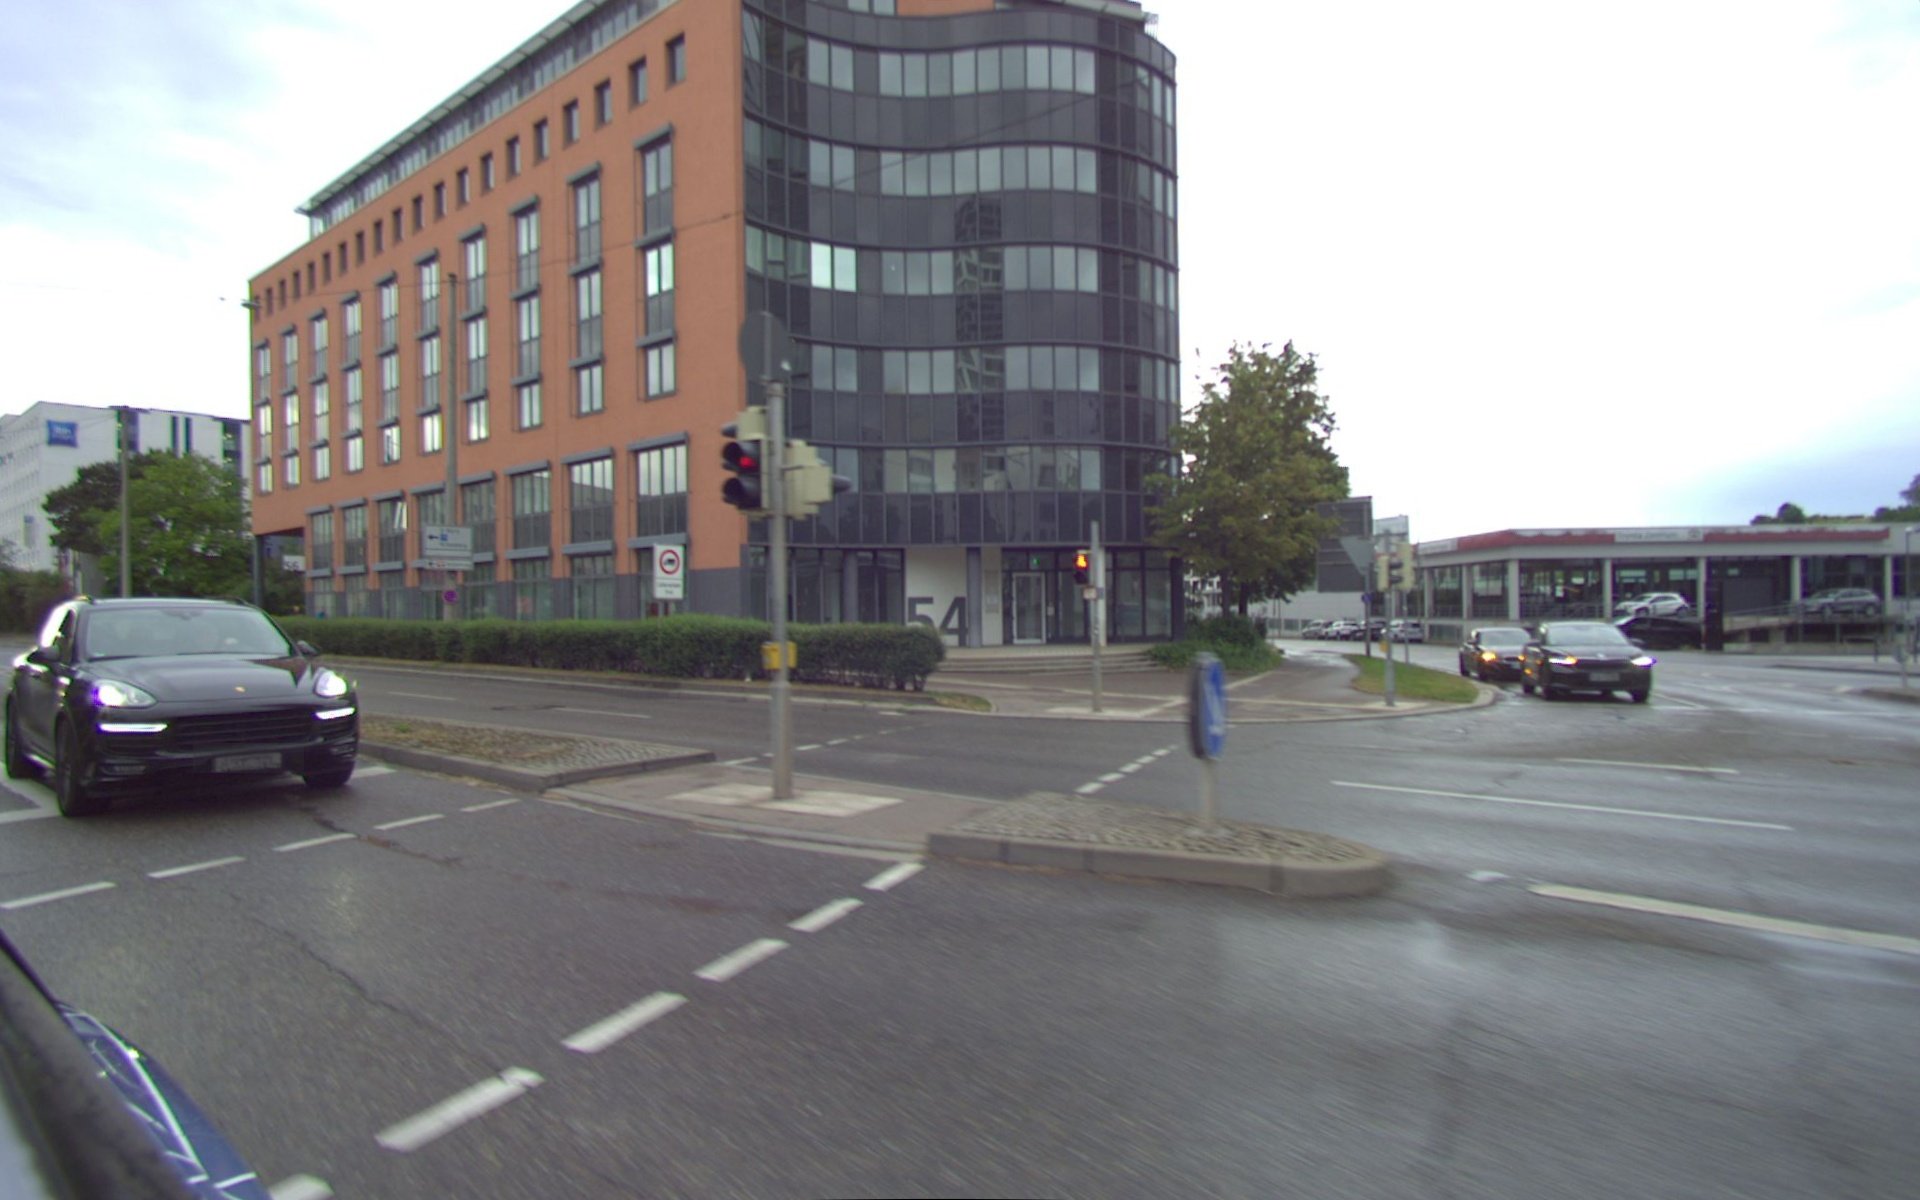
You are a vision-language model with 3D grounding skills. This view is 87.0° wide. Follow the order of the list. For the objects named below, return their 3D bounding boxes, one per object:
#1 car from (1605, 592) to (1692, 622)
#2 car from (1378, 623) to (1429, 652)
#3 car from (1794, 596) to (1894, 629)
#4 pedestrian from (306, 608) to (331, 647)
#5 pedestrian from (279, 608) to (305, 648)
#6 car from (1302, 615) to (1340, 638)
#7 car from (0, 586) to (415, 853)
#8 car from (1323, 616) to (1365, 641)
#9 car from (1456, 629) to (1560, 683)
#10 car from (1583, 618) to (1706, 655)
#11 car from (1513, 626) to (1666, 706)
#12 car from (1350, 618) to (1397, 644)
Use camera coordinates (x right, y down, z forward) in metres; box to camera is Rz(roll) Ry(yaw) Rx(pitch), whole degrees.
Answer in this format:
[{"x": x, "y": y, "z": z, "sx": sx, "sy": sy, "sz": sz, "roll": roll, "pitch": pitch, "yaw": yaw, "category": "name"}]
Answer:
[{"x": 40.280, "y": 0.430, "z": 59.303, "sx": 3.766, "sy": 1.663, "sz": 1.815, "roll": 0, "pitch": -2, "yaw": 4, "category": "car"}, {"x": 30.983, "y": 2.607, "z": 70.825, "sx": 1.974, "sy": 1.918, "sz": 3.996, "roll": -1, "pitch": -2, "yaw": 3, "category": "car"}, {"x": 50.286, "y": 0.715, "z": 57.636, "sx": 3.948, "sy": 1.863, "sz": 1.798, "roll": 0, "pitch": -2, "yaw": 4, "category": "car"}, {"x": -30.960, "y": 1.317, "z": 48.813, "sx": 0.885, "sy": 1.855, "sz": 0.738, "roll": -1, "pitch": 0, "yaw": 39, "category": "pedestrian"}, {"x": -31.936, "y": 1.331, "z": 48.392, "sx": 0.885, "sy": 1.855, "sz": 0.738, "roll": -1, "pitch": 0, "yaw": 39, "category": "pedestrian"}, {"x": 31.227, "y": 2.300, "z": 87.600, "sx": 1.974, "sy": 1.918, "sz": 3.996, "roll": -1, "pitch": -2, "yaw": 3, "category": "car"}, {"x": -6.906, "y": 0.809, "z": 8.906, "sx": 5.422, "sy": 1.679, "sz": 1.973, "roll": -2, "pitch": -1, "yaw": 41, "category": "car"}, {"x": 31.092, "y": 2.291, "z": 82.118, "sx": 1.974, "sy": 1.918, "sz": 3.996, "roll": -1, "pitch": -2, "yaw": 3, "category": "car"}, {"x": 15.276, "y": 1.523, "z": 28.423, "sx": 1.838, "sy": 1.373, "sz": 3.975, "roll": -1, "pitch": -2, "yaw": 18, "category": "car"}, {"x": 35.434, "y": 1.865, "z": 52.464, "sx": 4.943, "sy": 1.830, "sz": 1.794, "roll": 0, "pitch": -2, "yaw": 8, "category": "car"}, {"x": 13.257, "y": 1.349, "z": 21.593, "sx": 1.843, "sy": 1.522, "sz": 4.343, "roll": -2, "pitch": -3, "yaw": 20, "category": "car"}, {"x": 30.967, "y": 2.312, "z": 75.844, "sx": 1.974, "sy": 1.918, "sz": 3.996, "roll": -1, "pitch": -2, "yaw": 3, "category": "car"}]
